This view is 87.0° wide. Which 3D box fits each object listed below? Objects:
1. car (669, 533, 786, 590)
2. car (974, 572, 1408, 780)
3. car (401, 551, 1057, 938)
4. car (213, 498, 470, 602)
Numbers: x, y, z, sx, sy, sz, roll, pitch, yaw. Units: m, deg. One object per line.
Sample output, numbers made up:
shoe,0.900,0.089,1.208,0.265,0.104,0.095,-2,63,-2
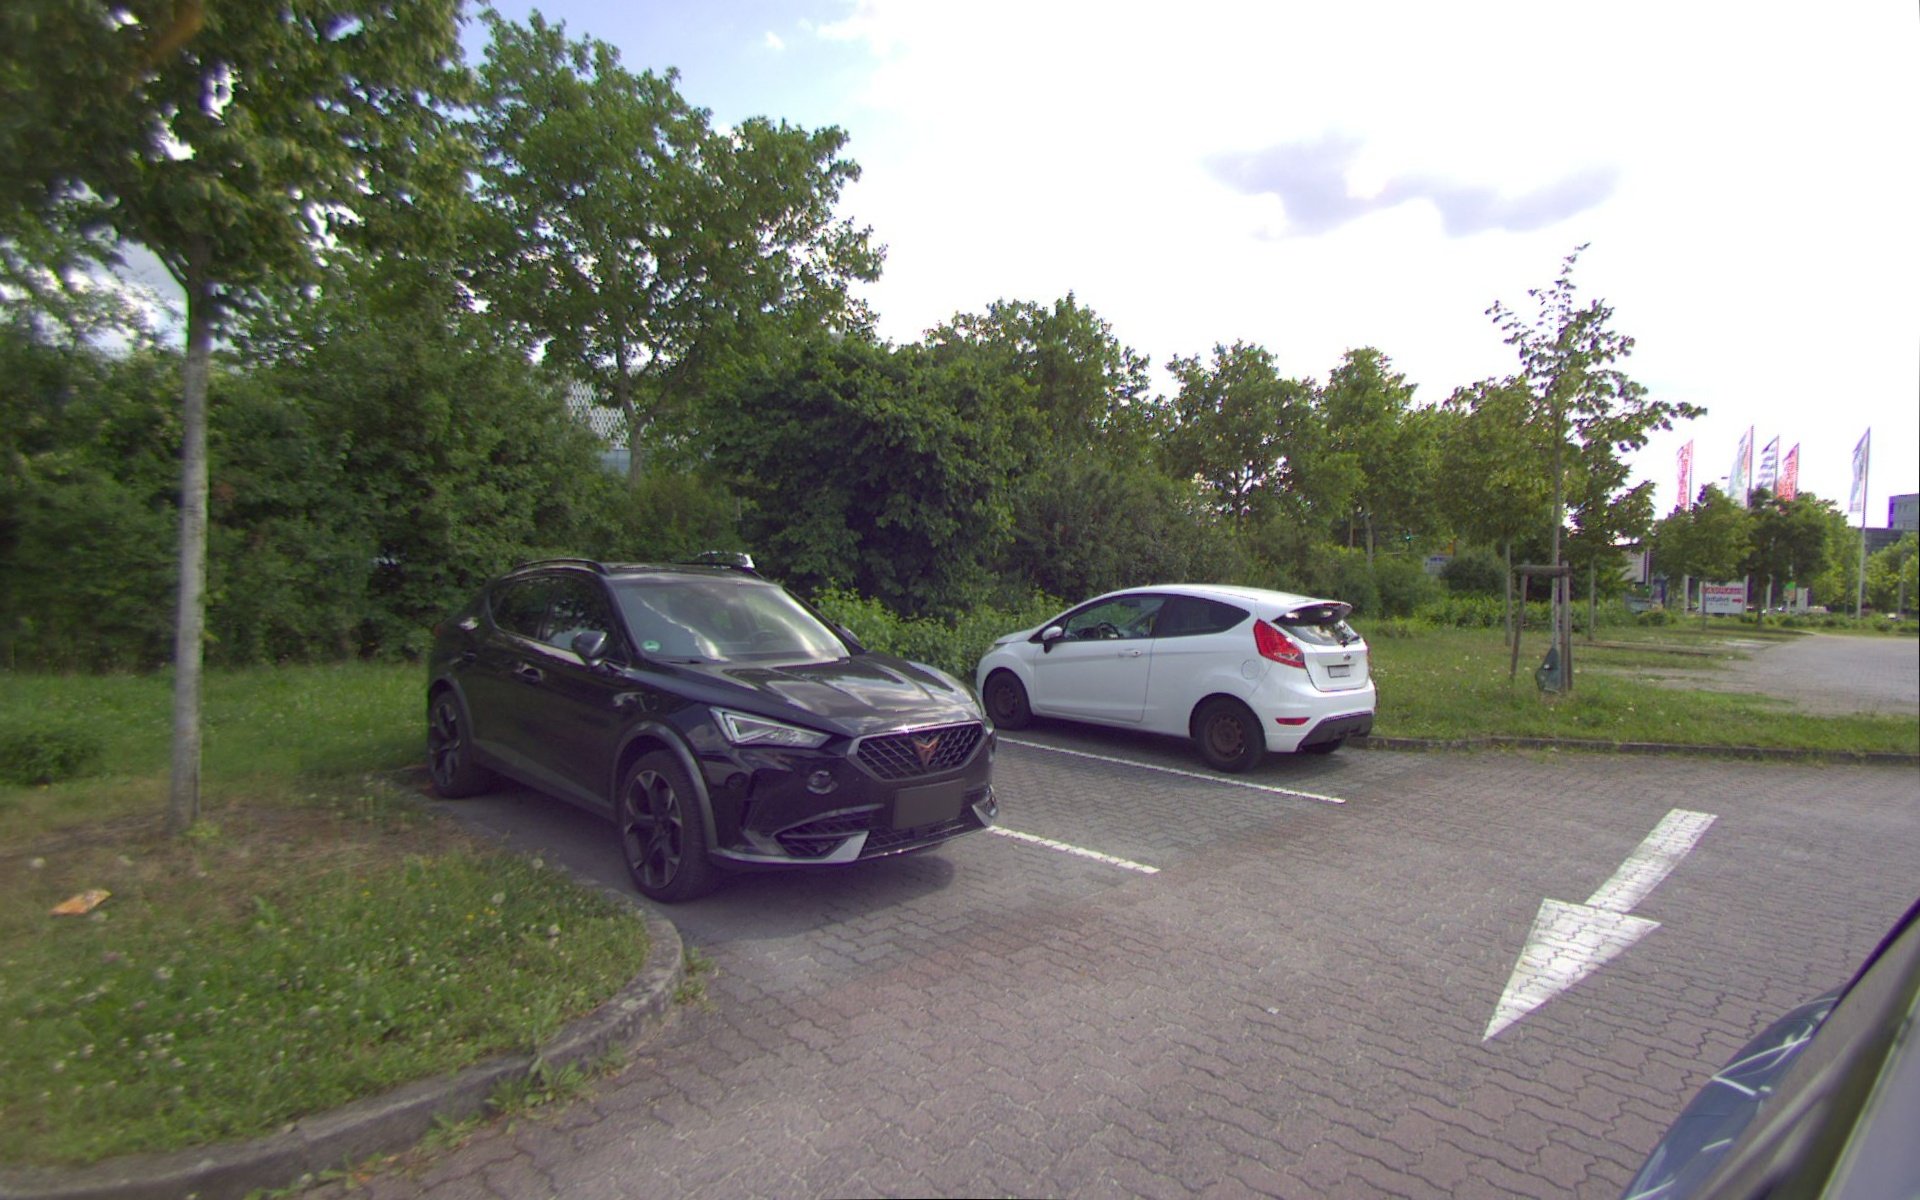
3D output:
car,-8.910,-1.446,38.943,1.994,2.038,3.937,3,2,43
car,1.935,0.519,9.230,1.641,1.429,3.552,1,2,-41
car,-1.631,0.479,5.935,4.230,1.428,1.706,4,2,44
car,-13.368,-1.020,22.105,1.909,2.039,4.431,0,1,40
